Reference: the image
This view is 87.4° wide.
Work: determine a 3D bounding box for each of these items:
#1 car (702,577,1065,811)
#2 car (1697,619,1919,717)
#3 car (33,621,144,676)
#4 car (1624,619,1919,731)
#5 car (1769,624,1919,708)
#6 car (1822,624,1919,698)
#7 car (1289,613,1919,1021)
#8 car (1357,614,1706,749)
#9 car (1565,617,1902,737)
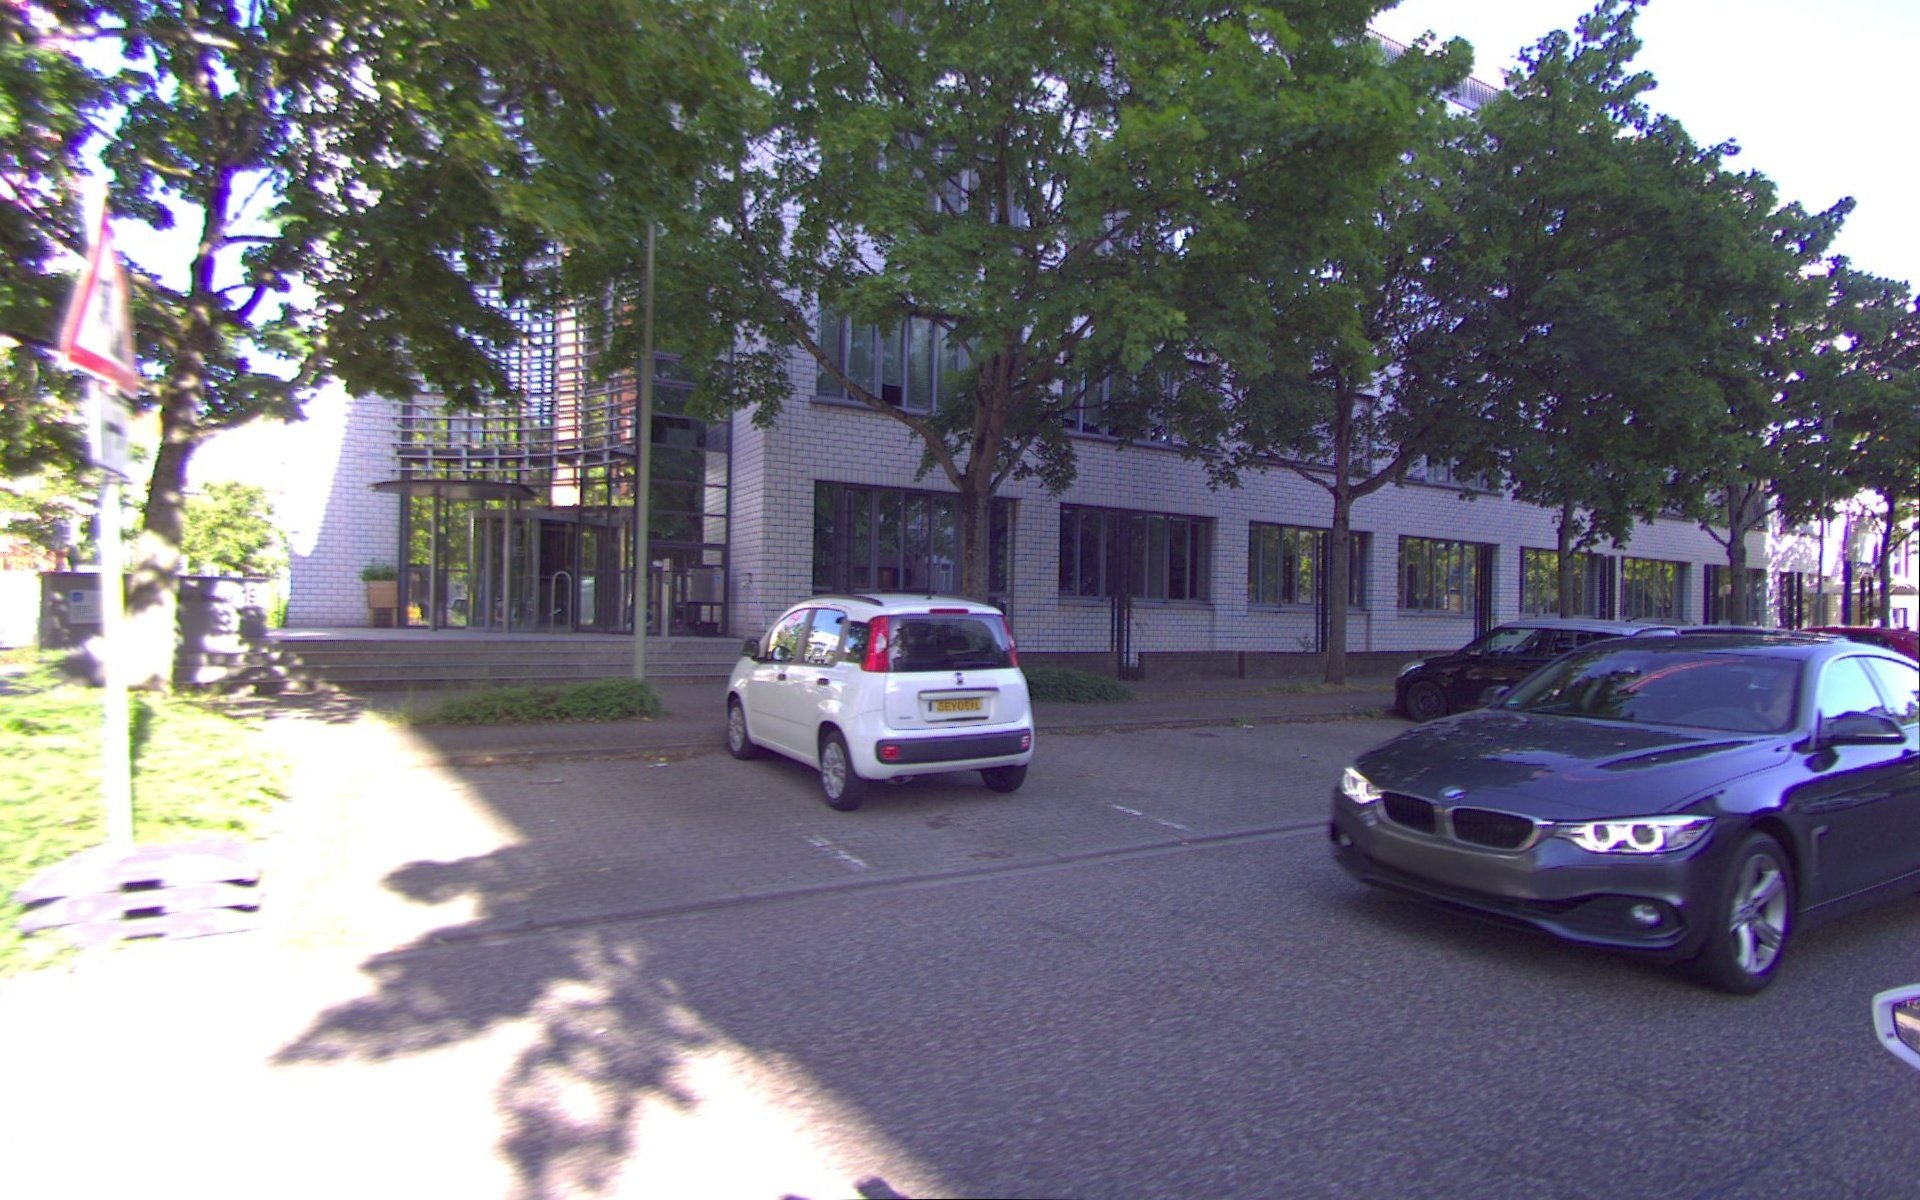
[{"bbox_3d":[-0.853,0.680,8.683,1.620,1.569,3.561,5,-2,-31],"label":"car"},{"bbox_3d":[15.624,1.144,18.111,1.679,1.483,3.397,1,1,-34],"label":"car"},{"bbox_3d":[-29.365,1.598,33.994,1.985,1.700,3.970,2,-2,-29],"label":"car"},{"bbox_3d":[13.593,1.129,16.733,1.735,1.476,3.844,0,1,-32],"label":"car"},{"bbox_3d":[18.120,1.277,19.066,1.647,1.431,3.966,2,0,-31],"label":"car"},{"bbox_3d":[20.281,1.295,20.355,1.588,1.425,3.963,2,0,-33],"label":"car"},{"bbox_3d":[3.891,0.831,5.428,4.060,1.434,1.804,1,0,-31],"label":"car"},{"bbox_3d":[7.409,0.967,13.377,1.657,1.483,3.715,2,-1,-30],"label":"car"},{"bbox_3d":[11.669,1.079,15.418,1.612,1.464,3.745,2,0,-29],"label":"car"}]
